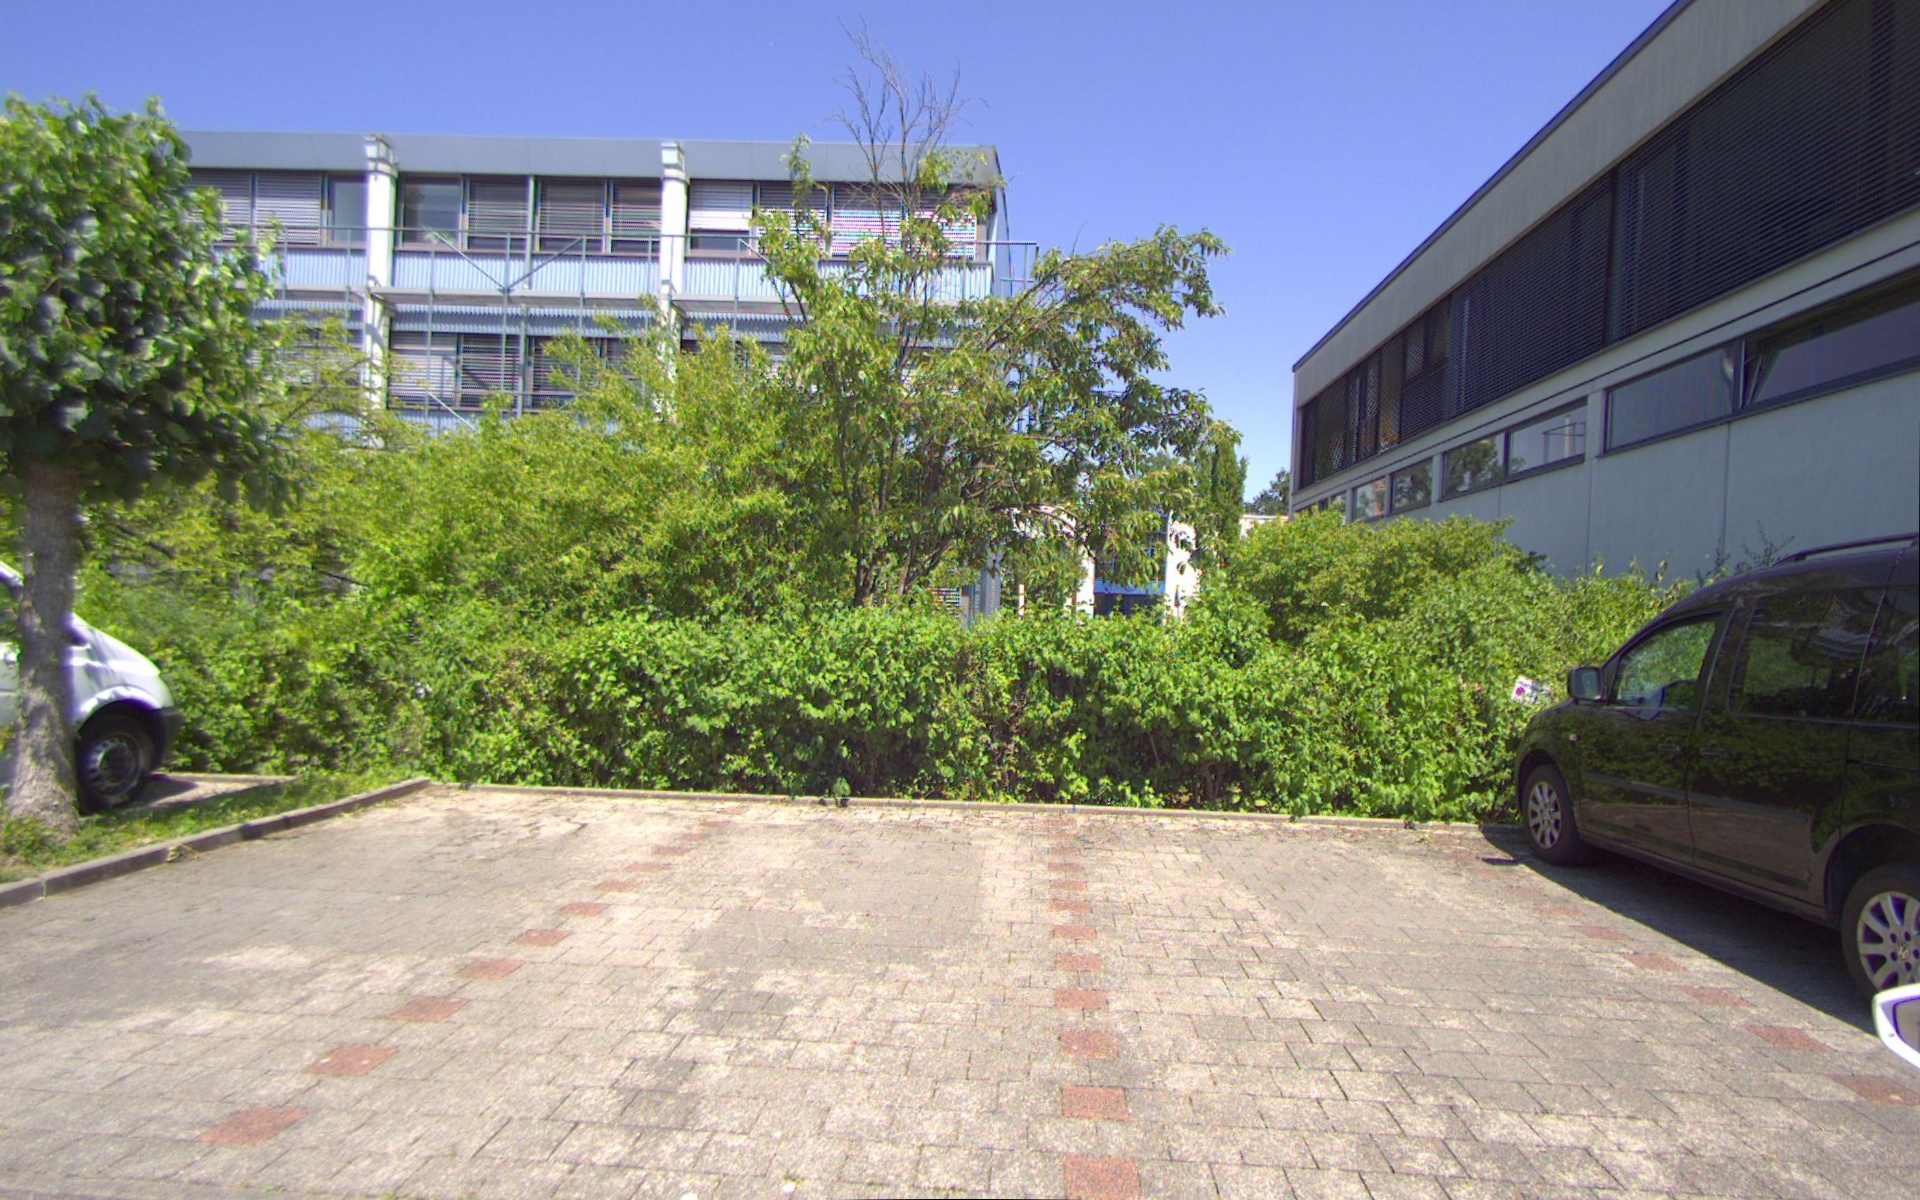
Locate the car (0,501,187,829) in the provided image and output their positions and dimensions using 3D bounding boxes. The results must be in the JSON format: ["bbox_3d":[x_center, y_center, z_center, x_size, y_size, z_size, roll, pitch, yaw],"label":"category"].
[{"bbox_3d":[-6.588,0.354,4.898,1.793,1.931,4.737,1,0,3],"label":"car"}]

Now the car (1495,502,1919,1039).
[{"bbox_3d":[4.351,0.637,4.808,1.645,1.909,4.073,1,0,5],"label":"car"}]
